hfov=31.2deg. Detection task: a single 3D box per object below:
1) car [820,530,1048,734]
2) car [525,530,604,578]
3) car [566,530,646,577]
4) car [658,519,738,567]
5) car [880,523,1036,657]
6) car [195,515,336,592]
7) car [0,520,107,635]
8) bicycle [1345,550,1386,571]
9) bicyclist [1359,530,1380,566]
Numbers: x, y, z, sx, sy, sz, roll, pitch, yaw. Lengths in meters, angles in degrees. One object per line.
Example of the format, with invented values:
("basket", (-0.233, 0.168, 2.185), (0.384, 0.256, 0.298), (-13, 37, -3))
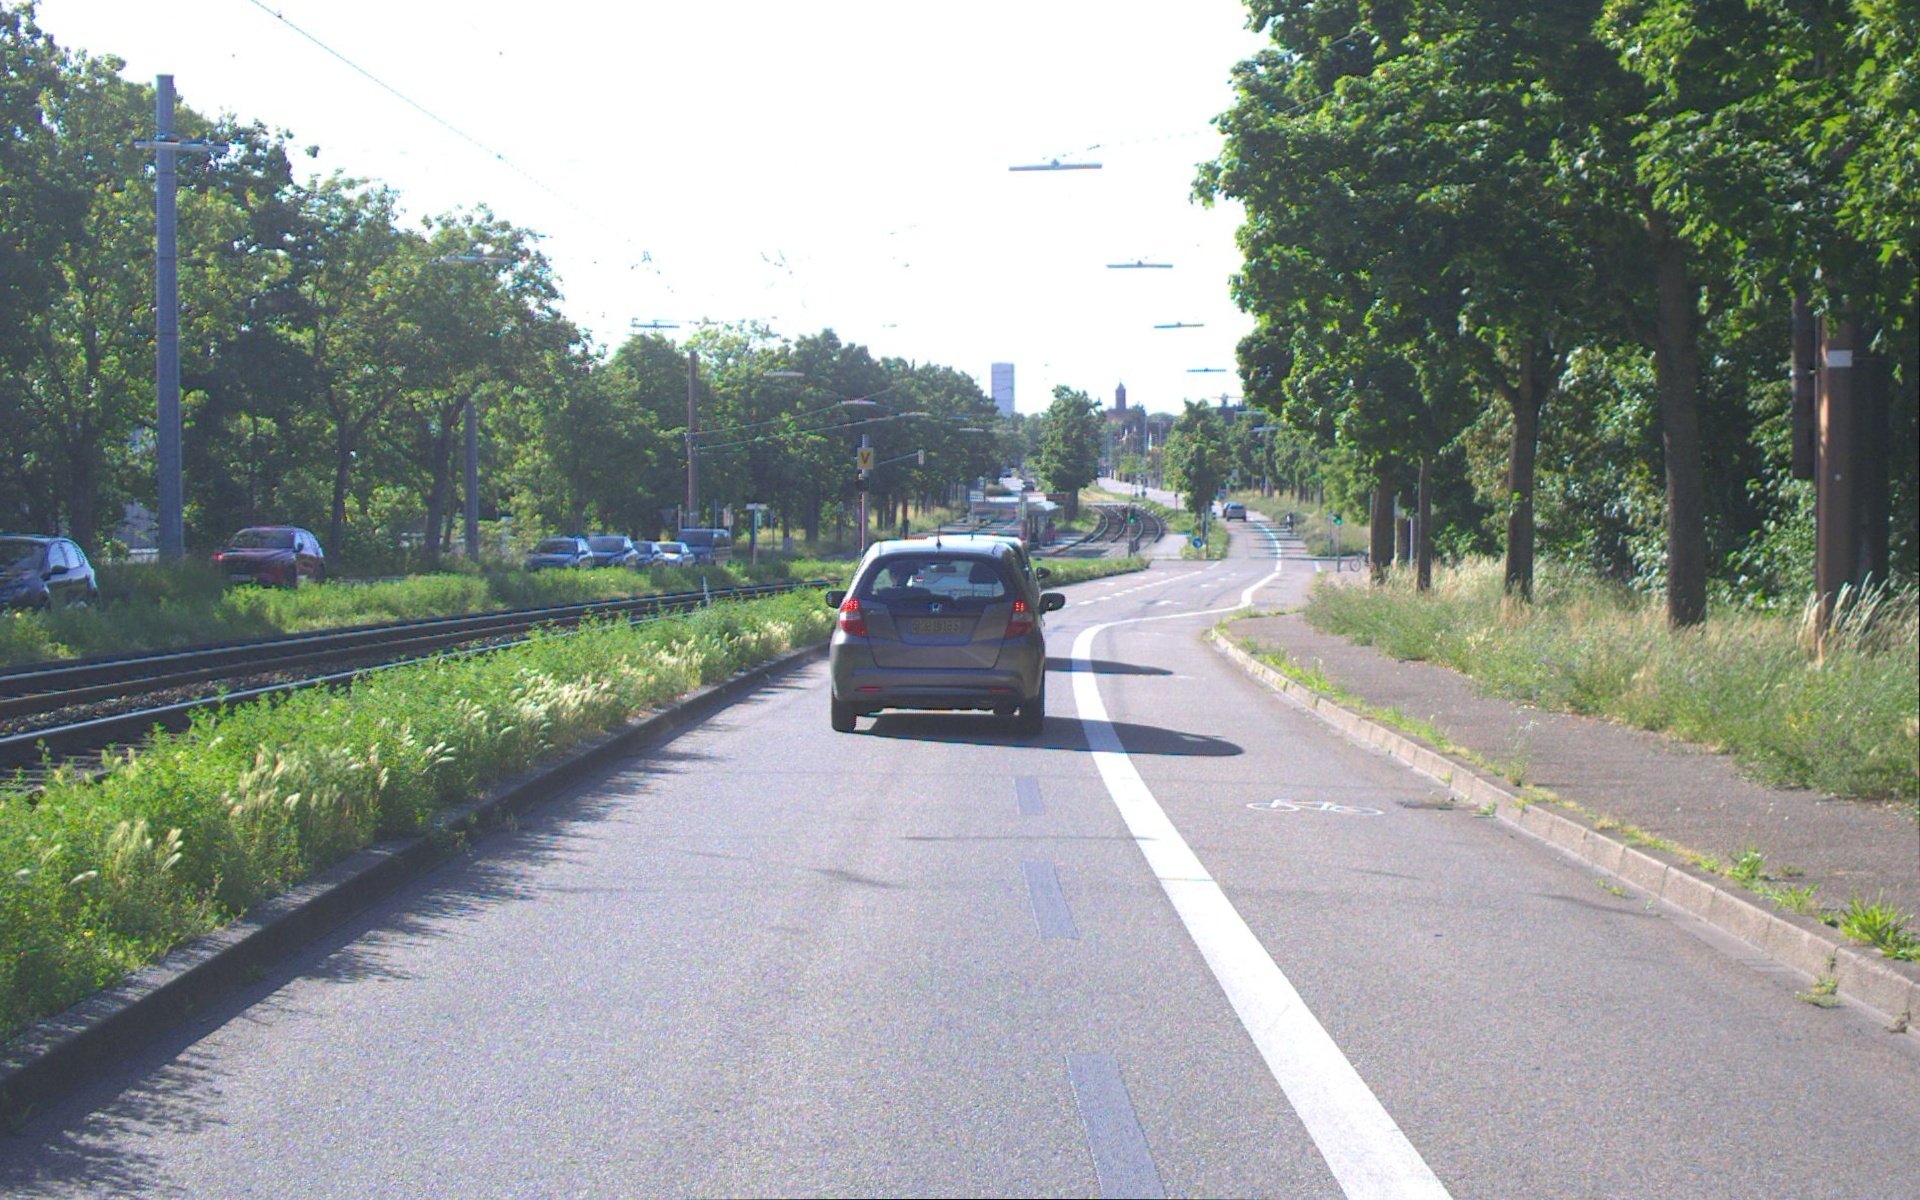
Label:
("car", (-0.191, 0.206, 28.278), (1.707, 1.503, 4.000), (1, 1, 0))
("car", (-13.058, -1.517, 113.718), (1.735, 1.489, 4.327), (2, 1, 4))
("car", (-12.377, -1.652, 120.339), (1.994, 1.569, 4.434), (1, 1, 5))
("car", (-10.539, -2.311, 138.558), (2.197, 1.885, 4.790), (1, 1, 8))
("car", (0.023, -0.169, 44.125), (1.851, 1.601, 4.255), (1, 1, 2))
("car", (-16.054, -1.089, 79.677), (2.004, 1.696, 4.466), (1, 1, 5))
("car", (-12.996, -0.341, 46.655), (1.710, 1.474, 4.000), (1, 1, 2))
("bicycle", (19.998, -1.957, 169.559), (1.921, 0.994, 0.763), (-1, 0, 17))
("bicyclist", (20.191, -2.551, 169.489), (0.911, 1.739, 0.763), (0, 0, 17))
